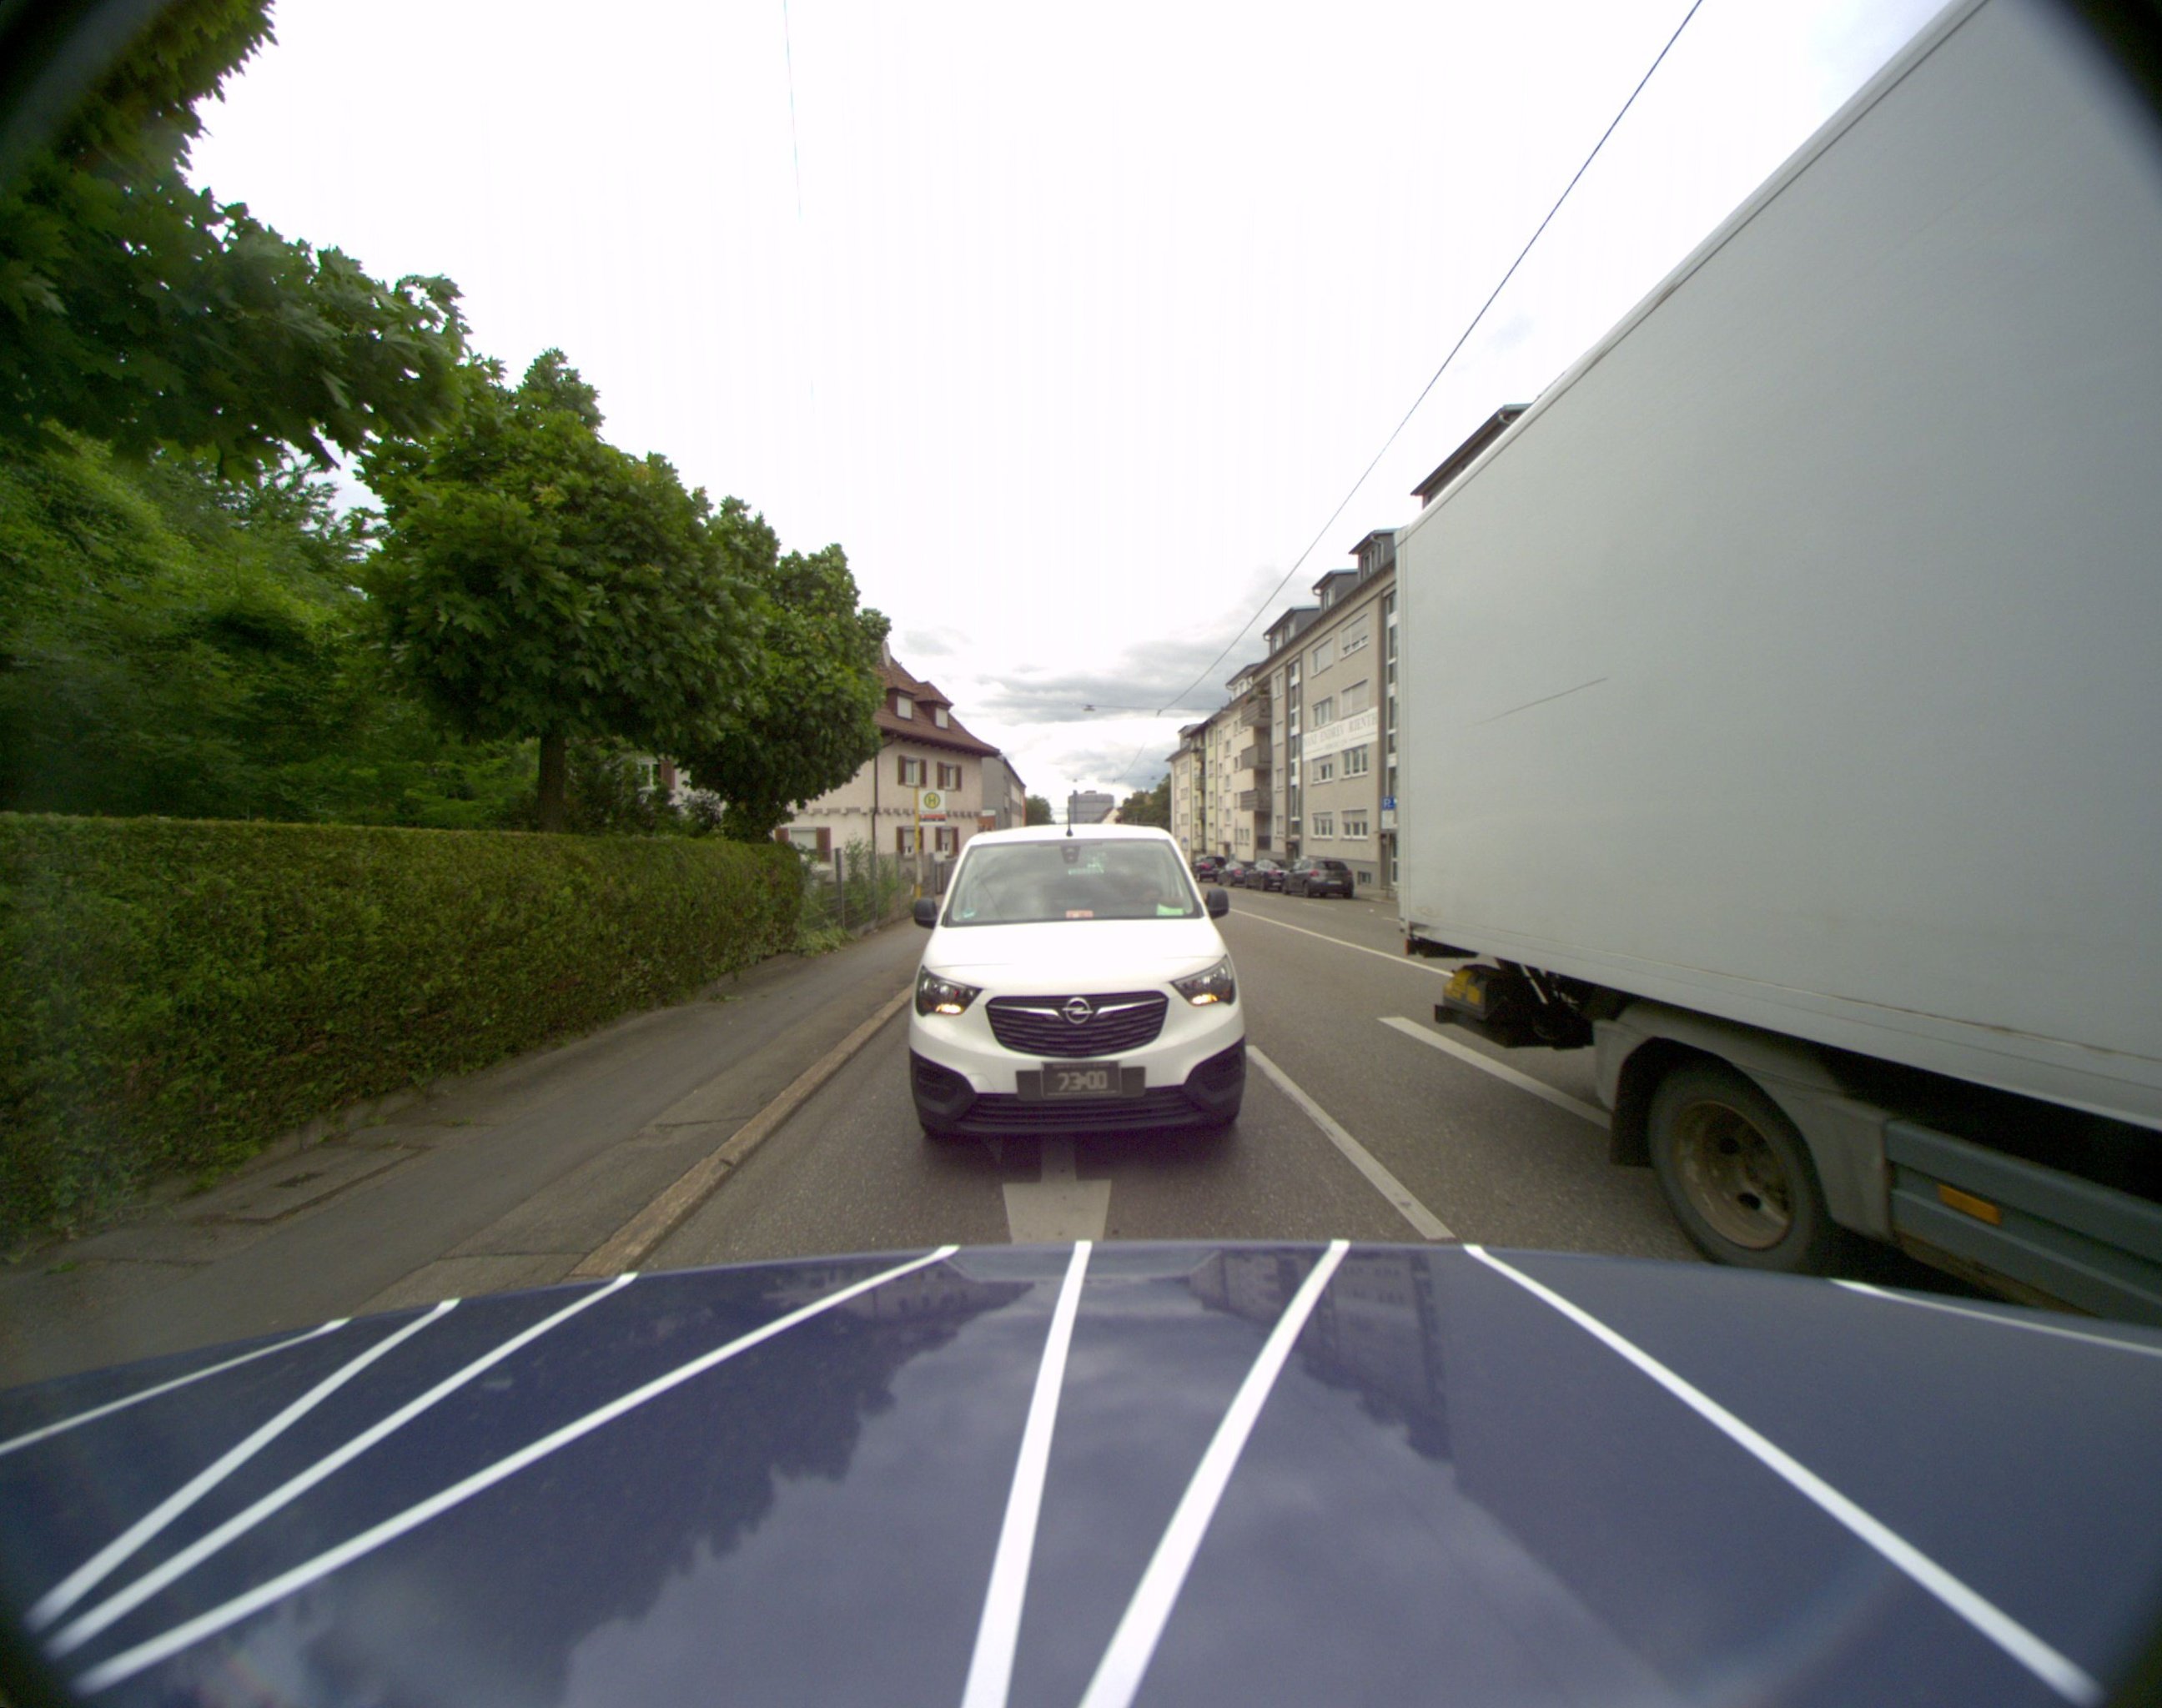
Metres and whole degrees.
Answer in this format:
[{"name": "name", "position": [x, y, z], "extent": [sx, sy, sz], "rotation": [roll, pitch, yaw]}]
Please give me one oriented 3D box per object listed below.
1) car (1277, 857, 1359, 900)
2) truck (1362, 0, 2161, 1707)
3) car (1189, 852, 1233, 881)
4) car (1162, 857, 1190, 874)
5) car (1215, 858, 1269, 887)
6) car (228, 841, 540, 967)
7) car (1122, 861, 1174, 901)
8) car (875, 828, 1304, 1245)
[{"name": "car", "position": [8.906, 0.889, 28.849], "extent": [1.773, 1.428, 3.800], "rotation": [2, 0, -2]}, {"name": "truck", "position": [3.302, -0.170, 0.926], "extent": [2.776, 3.554, 8.063], "rotation": [-2, 0, -1]}, {"name": "car", "position": [8.347, 0.761, 49.115], "extent": [1.875, 1.743, 4.306], "rotation": [2, 1, -2]}, {"name": "car", "position": [8.214, 0.972, 65.977], "extent": [1.875, 1.372, 4.307], "rotation": [2, 0, 0]}, {"name": "car", "position": [8.370, 0.925, 39.925], "extent": [1.773, 1.397, 4.307], "rotation": [-1, 0, -2]}, {"name": "car", "position": [-12.826, 0.782, 14.187], "extent": [1.994, 2.002, 4.008], "rotation": [-1, 0, 40]}, {"name": "car", "position": [2.443, 0.954, 28.642], "extent": [1.700, 1.365, 4.178], "rotation": [-2, 0, 2]}, {"name": "car", "position": [-0.017, 0.779, 5.323], "extent": [1.803, 1.736, 3.999], "rotation": [-3, 1, -2]}]
